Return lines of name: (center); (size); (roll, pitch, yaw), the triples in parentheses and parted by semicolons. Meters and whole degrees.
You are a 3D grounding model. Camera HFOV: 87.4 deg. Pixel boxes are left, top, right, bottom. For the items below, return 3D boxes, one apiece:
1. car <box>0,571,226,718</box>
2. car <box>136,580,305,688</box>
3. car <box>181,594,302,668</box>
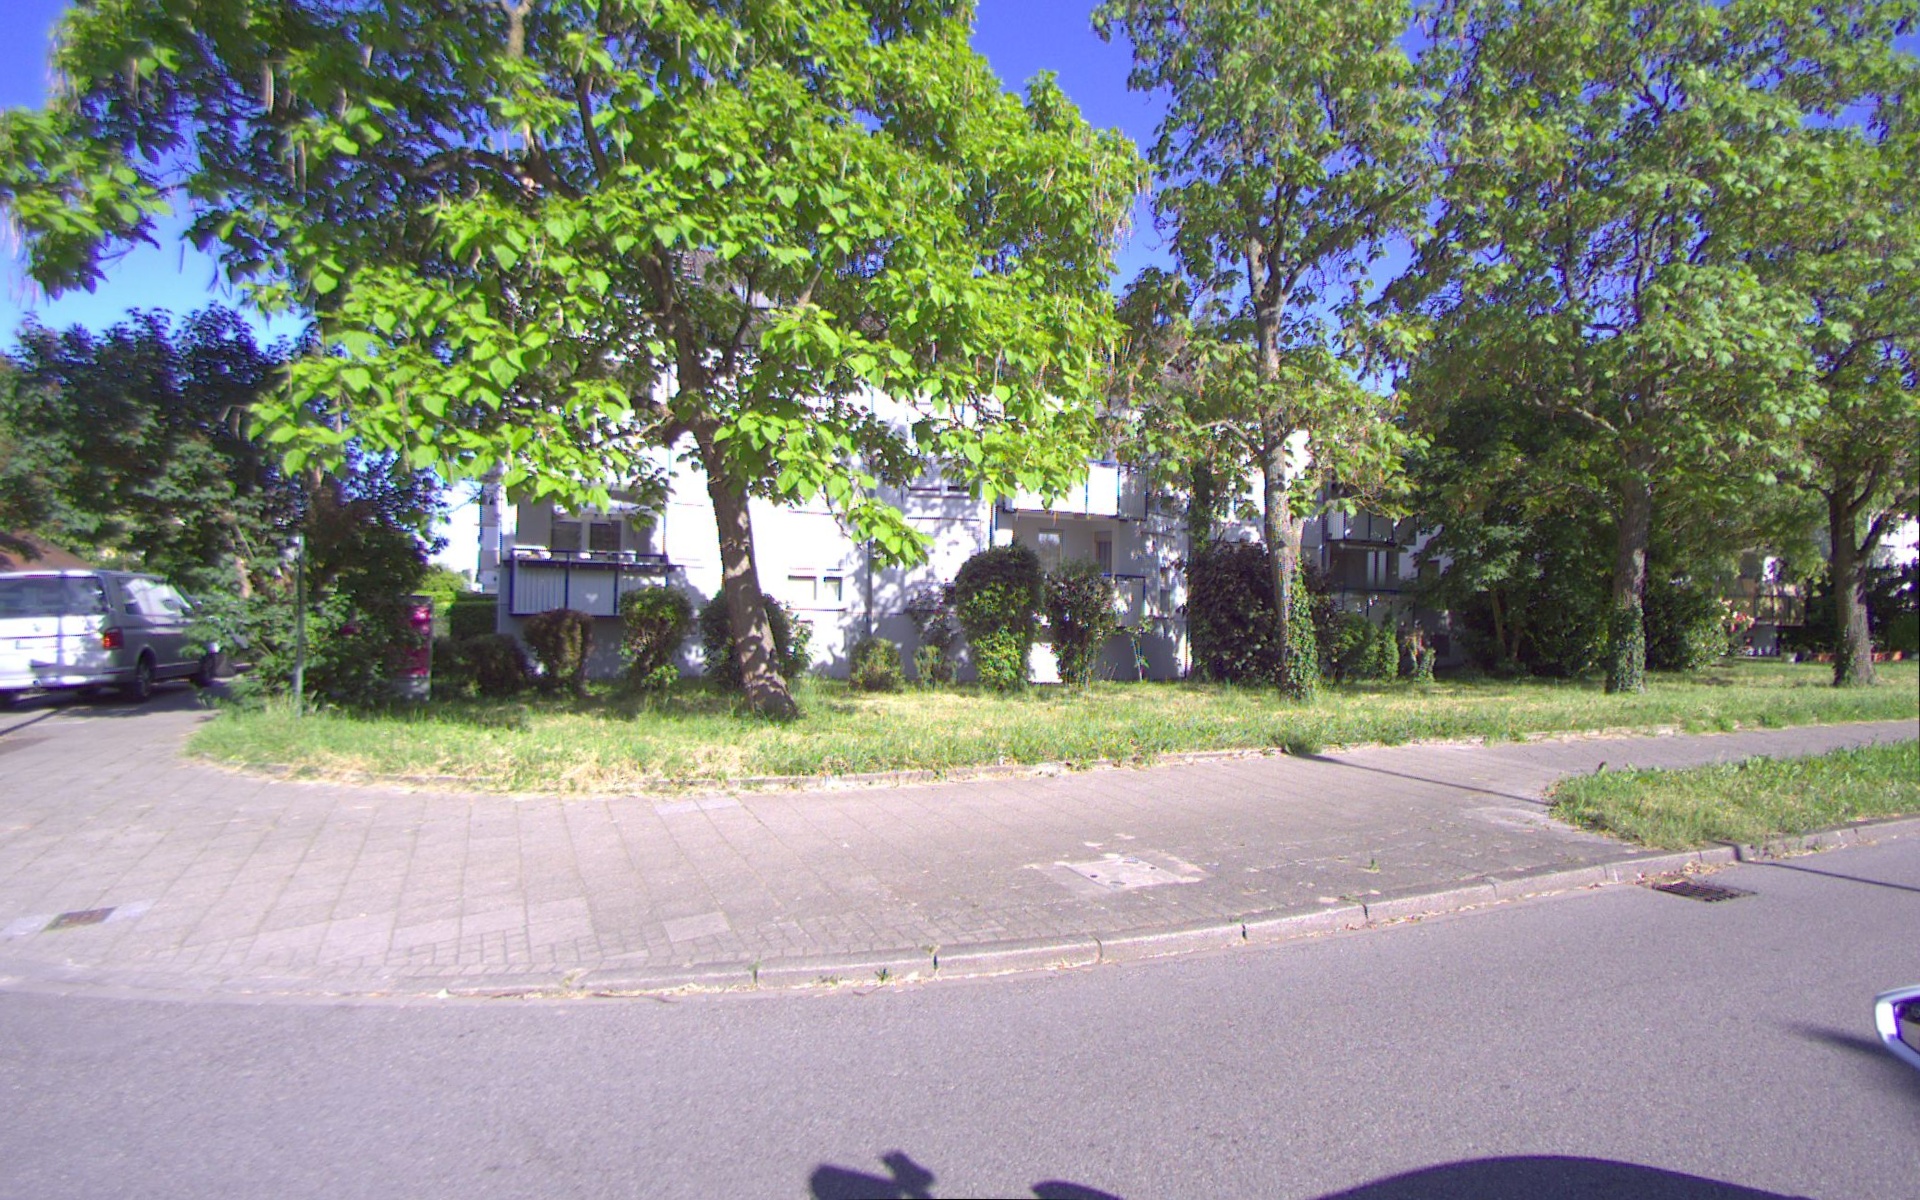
car: (-13.501, 0.635, 15.858); (2.039, 1.995, 4.443); (0, -1, -22)
car: (-15.390, 0.673, 21.166); (1.909, 2.024, 3.979); (1, -1, -22)
car: (-19.069, 0.791, 26.845); (1.896, 1.806, 4.069); (1, -1, -26)
